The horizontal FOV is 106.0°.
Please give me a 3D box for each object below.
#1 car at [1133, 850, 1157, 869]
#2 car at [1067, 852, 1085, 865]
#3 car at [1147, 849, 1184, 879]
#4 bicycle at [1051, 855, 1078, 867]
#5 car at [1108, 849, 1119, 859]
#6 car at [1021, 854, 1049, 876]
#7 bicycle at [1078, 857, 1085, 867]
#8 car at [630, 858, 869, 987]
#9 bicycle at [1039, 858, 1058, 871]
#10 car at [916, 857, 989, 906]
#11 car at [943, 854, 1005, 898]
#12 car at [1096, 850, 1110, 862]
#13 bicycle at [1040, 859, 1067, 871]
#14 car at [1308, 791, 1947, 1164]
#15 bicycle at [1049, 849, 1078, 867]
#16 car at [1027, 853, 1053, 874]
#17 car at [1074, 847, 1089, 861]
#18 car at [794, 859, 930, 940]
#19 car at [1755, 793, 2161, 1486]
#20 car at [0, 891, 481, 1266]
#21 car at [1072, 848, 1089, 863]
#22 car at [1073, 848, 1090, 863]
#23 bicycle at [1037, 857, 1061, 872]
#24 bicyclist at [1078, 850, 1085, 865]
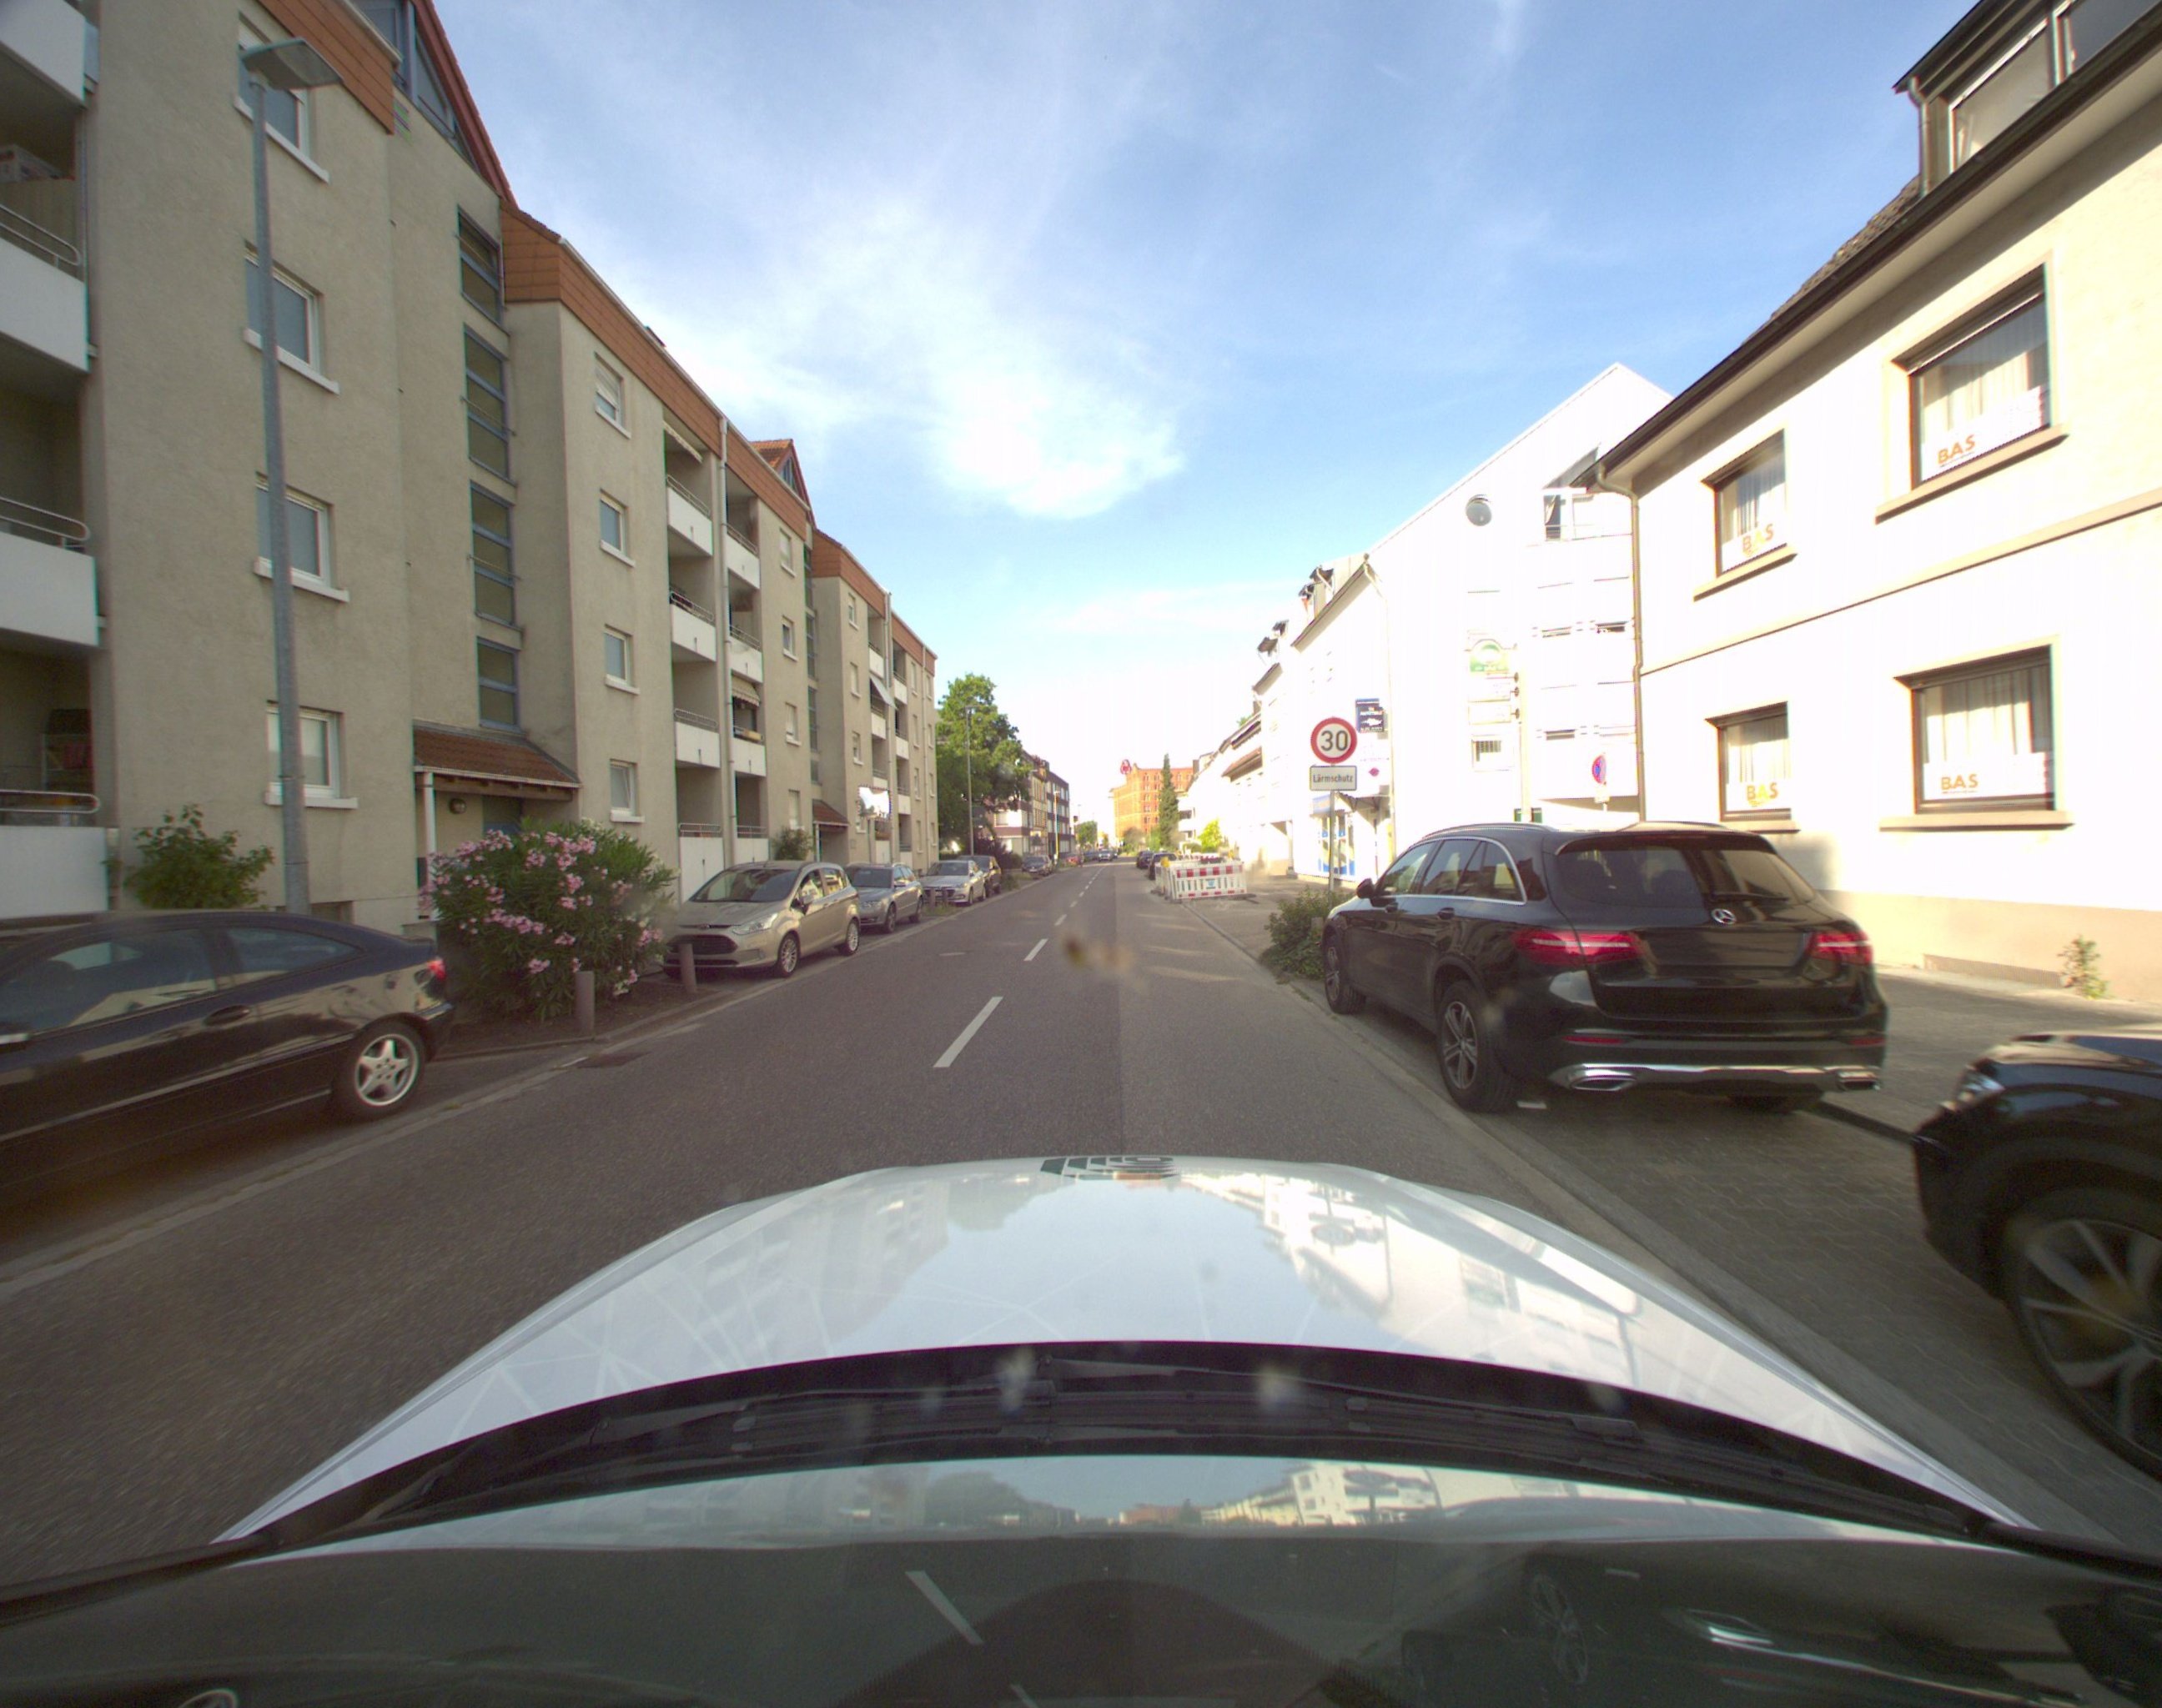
[{"bbox_3d":[5.429,0.475,69.810,1.852,1.472,4.002,-3,0,2],"label":"car"},{"bbox_3d":[-0.575,0.503,95.308,1.832,1.464,3.587,-2,0,3],"label":"car"},{"bbox_3d":[4.663,0.531,45.587,1.822,1.482,3.946,-3,0,3],"label":"car"},{"bbox_3d":[-1.767,0.763,87.407,2.761,1.144,1.144,-2,0,3],"label":"bicycle"},{"bbox_3d":[5.704,-0.044,141.625,1.756,1.616,4.002,-3,0,2],"label":"car"},{"bbox_3d":[-3.197,0.762,56.847,1.567,1.420,3.805,-1,0,2],"label":"car"},{"bbox_3d":[0.037,0.796,82.328,0.606,0.942,1.813,-2,0,4],"label":"bicycle"},{"bbox_3d":[-4.714,0.876,12.269,1.719,1.555,3.969,-1,0,4],"label":"car"},{"bbox_3d":[-2.792,0.906,70.404,1.581,1.041,0.707,-2,0,-3],"label":"bicycle"},{"bbox_3d":[-4.203,0.861,27.209,1.680,1.454,4.142,-1,0,1],"label":"car"},{"bbox_3d":[-4.168,0.811,32.363,1.679,1.603,4.372,-1,0,2],"label":"car"},{"bbox_3d":[3.079,0.240,113.690,1.756,1.616,4.002,-3,0,2],"label":"car"},{"bbox_3d":[-2.354,0.927,69.675,2.335,0.970,0.707,-2,0,-3],"label":"bicycle"},{"bbox_3d":[3.084,0.559,5.926,1.822,1.630,4.467,-3,0,4],"label":"car"},{"bbox_3d":[-1.866,0.433,85.636,2.905,1.777,1.203,-2,0,3],"label":"bicycle"},{"bbox_3d":[-3.093,0.738,62.570,1.670,1.501,4.001,-2,0,1],"label":"car"},{"bbox_3d":[0.087,-0.005,121.810,1.985,1.881,4.003,-2,0,3],"label":"car"},{"bbox_3d":[-4.777,0.927,18.475,1.801,1.521,4.371,-1,0,1],"label":"car"},{"bbox_3d":[3.285,0.605,0.723,1.823,1.560,4.318,-3,0,1],"label":"car"},{"bbox_3d":[-5.276,1.004,3.886,1.680,1.405,4.085,-1,0,1],"label":"car"},{"bbox_3d":[-0.044,0.209,106.088,1.985,1.835,3.693,-2,0,3],"label":"car"},{"bbox_3d":[0.049,0.203,111.209,1.985,1.911,3.693,-2,0,3],"label":"car"},{"bbox_3d":[-2.729,0.858,68.810,1.996,1.217,0.707,-2,0,-4],"label":"bicycle"},{"bbox_3d":[0.017,0.379,82.348,0.588,1.442,0.751,-2,0,3],"label":"bicyclist"}]
